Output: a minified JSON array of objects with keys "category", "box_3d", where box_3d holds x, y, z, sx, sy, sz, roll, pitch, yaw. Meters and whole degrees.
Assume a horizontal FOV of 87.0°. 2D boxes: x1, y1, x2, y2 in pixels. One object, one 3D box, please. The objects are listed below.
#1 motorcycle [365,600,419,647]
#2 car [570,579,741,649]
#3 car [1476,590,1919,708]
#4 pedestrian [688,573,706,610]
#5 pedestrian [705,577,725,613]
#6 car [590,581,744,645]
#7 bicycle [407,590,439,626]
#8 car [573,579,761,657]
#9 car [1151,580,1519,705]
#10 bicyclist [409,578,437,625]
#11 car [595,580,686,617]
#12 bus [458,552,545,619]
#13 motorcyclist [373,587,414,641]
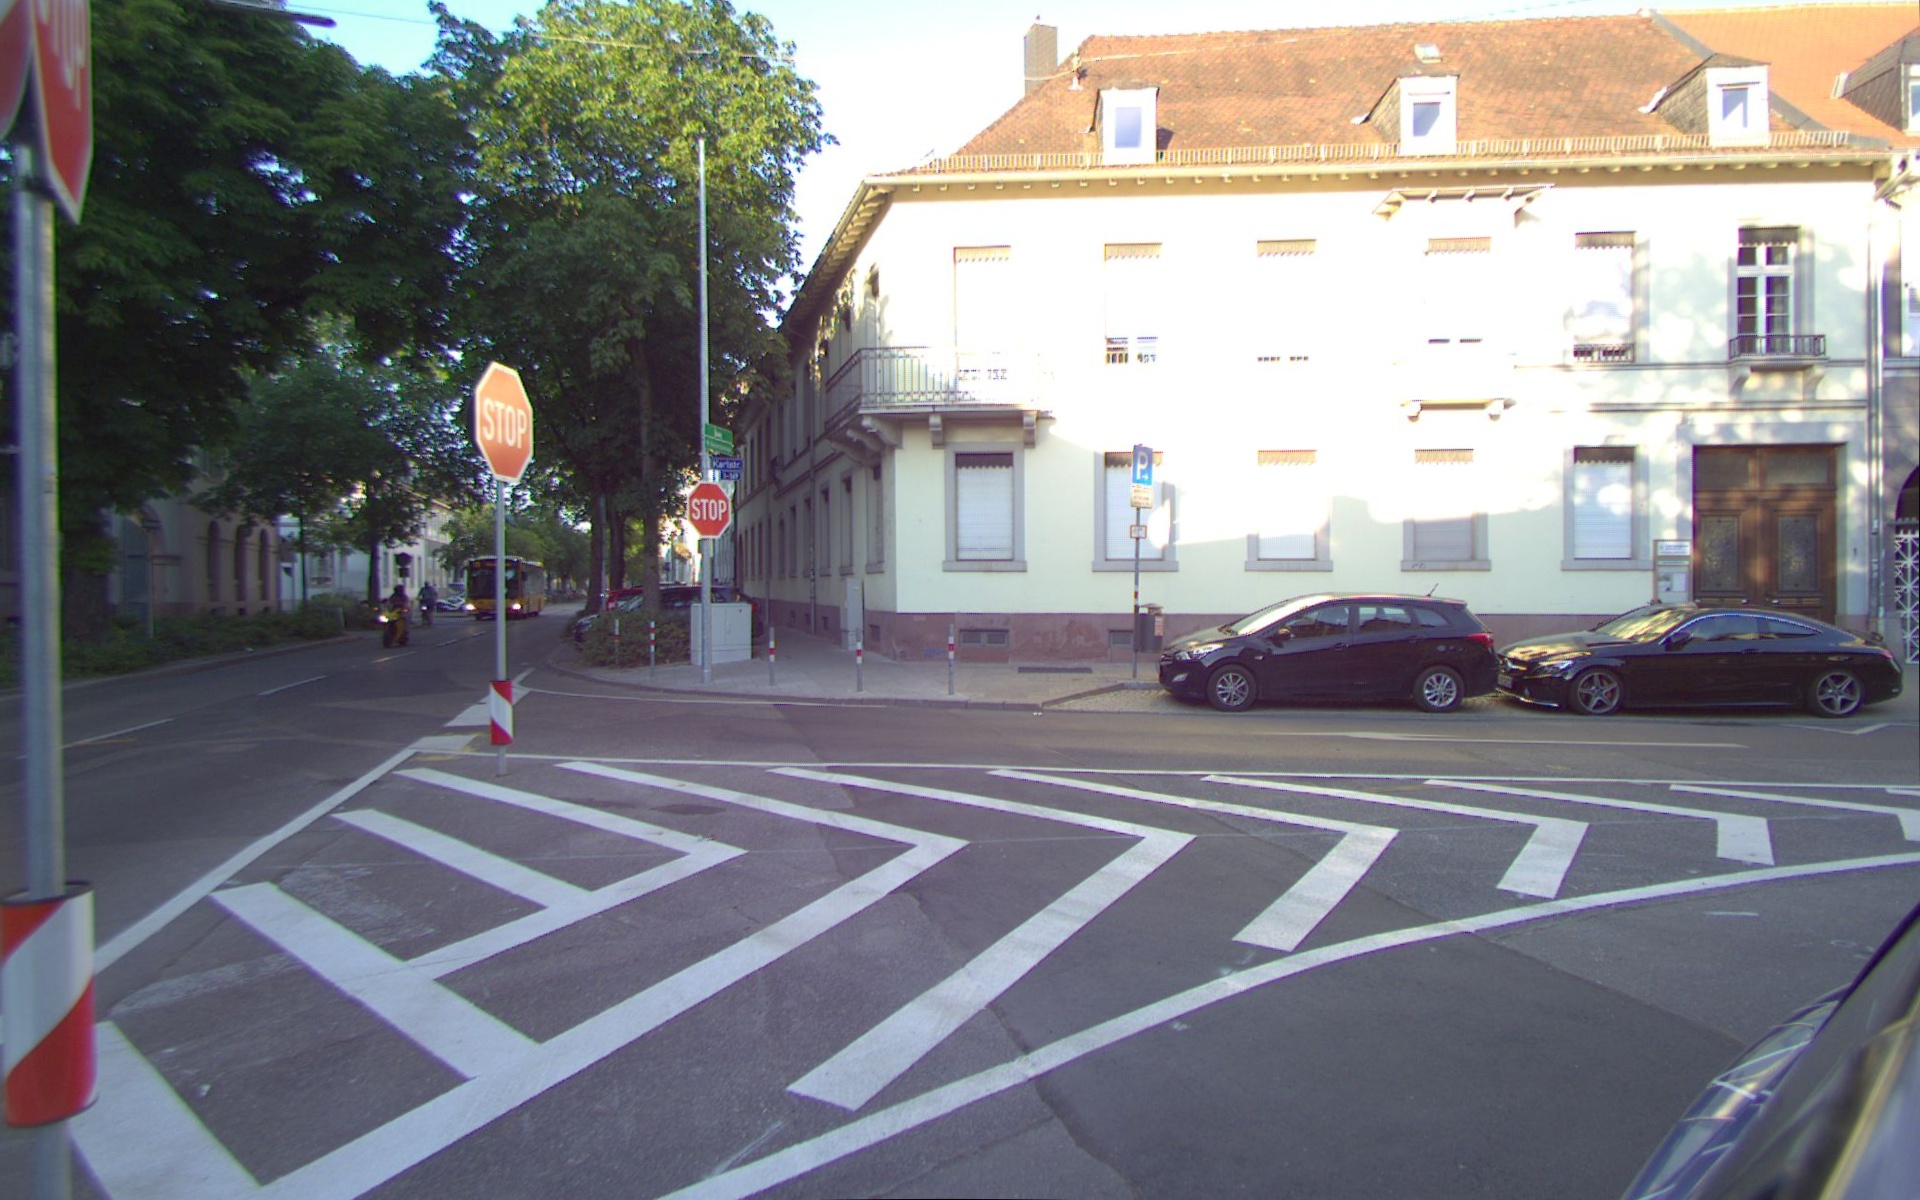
[{"category":"motorcycle","box_3d":[-15.466,0.605,27.609,0.777,1.175,1.971,-2,1,-15]},{"category":"car","box_3d":[-7.548,0.305,25.119,3.916,1.635,1.727,-1,1,-20]},{"category":"car","box_3d":[9.635,0.585,13.252,4.774,1.412,1.775,0,0,7]},{"category":"pedestrian","box_3d":[-13.020,-0.435,50.161,0.790,1.793,1.024,0,0,-19]},{"category":"pedestrian","box_3d":[-12.222,-0.255,50.415,0.876,1.793,1.024,0,0,-19]},{"category":"car","box_3d":[-7.981,0.314,27.539,3.916,1.635,1.727,-1,1,-20]},{"category":"bicycle","box_3d":[-21.641,0.301,40.813,0.767,1.346,2.082,-2,1,-18]},{"category":"car","box_3d":[-6.588,0.352,22.801,3.916,1.635,1.833,0,1,-20]},{"category":"car","box_3d":[4.901,0.524,13.779,4.353,1.561,1.805,0,0,6]},{"category":"bicyclist","box_3d":[-21.644,0.051,40.796,0.767,1.862,0.828,-2,1,-18]},{"category":"car","box_3d":[-14.655,-0.093,46.460,3.916,1.635,1.727,-1,1,-20]},{"category":"bus","box_3d":[-23.888,-0.779,53.275,2.656,3.037,12.108,-2,2,-18]},{"category":"motorcyclist","box_3d":[-15.491,0.364,27.697,0.777,1.438,0.700,-2,1,-15]}]
